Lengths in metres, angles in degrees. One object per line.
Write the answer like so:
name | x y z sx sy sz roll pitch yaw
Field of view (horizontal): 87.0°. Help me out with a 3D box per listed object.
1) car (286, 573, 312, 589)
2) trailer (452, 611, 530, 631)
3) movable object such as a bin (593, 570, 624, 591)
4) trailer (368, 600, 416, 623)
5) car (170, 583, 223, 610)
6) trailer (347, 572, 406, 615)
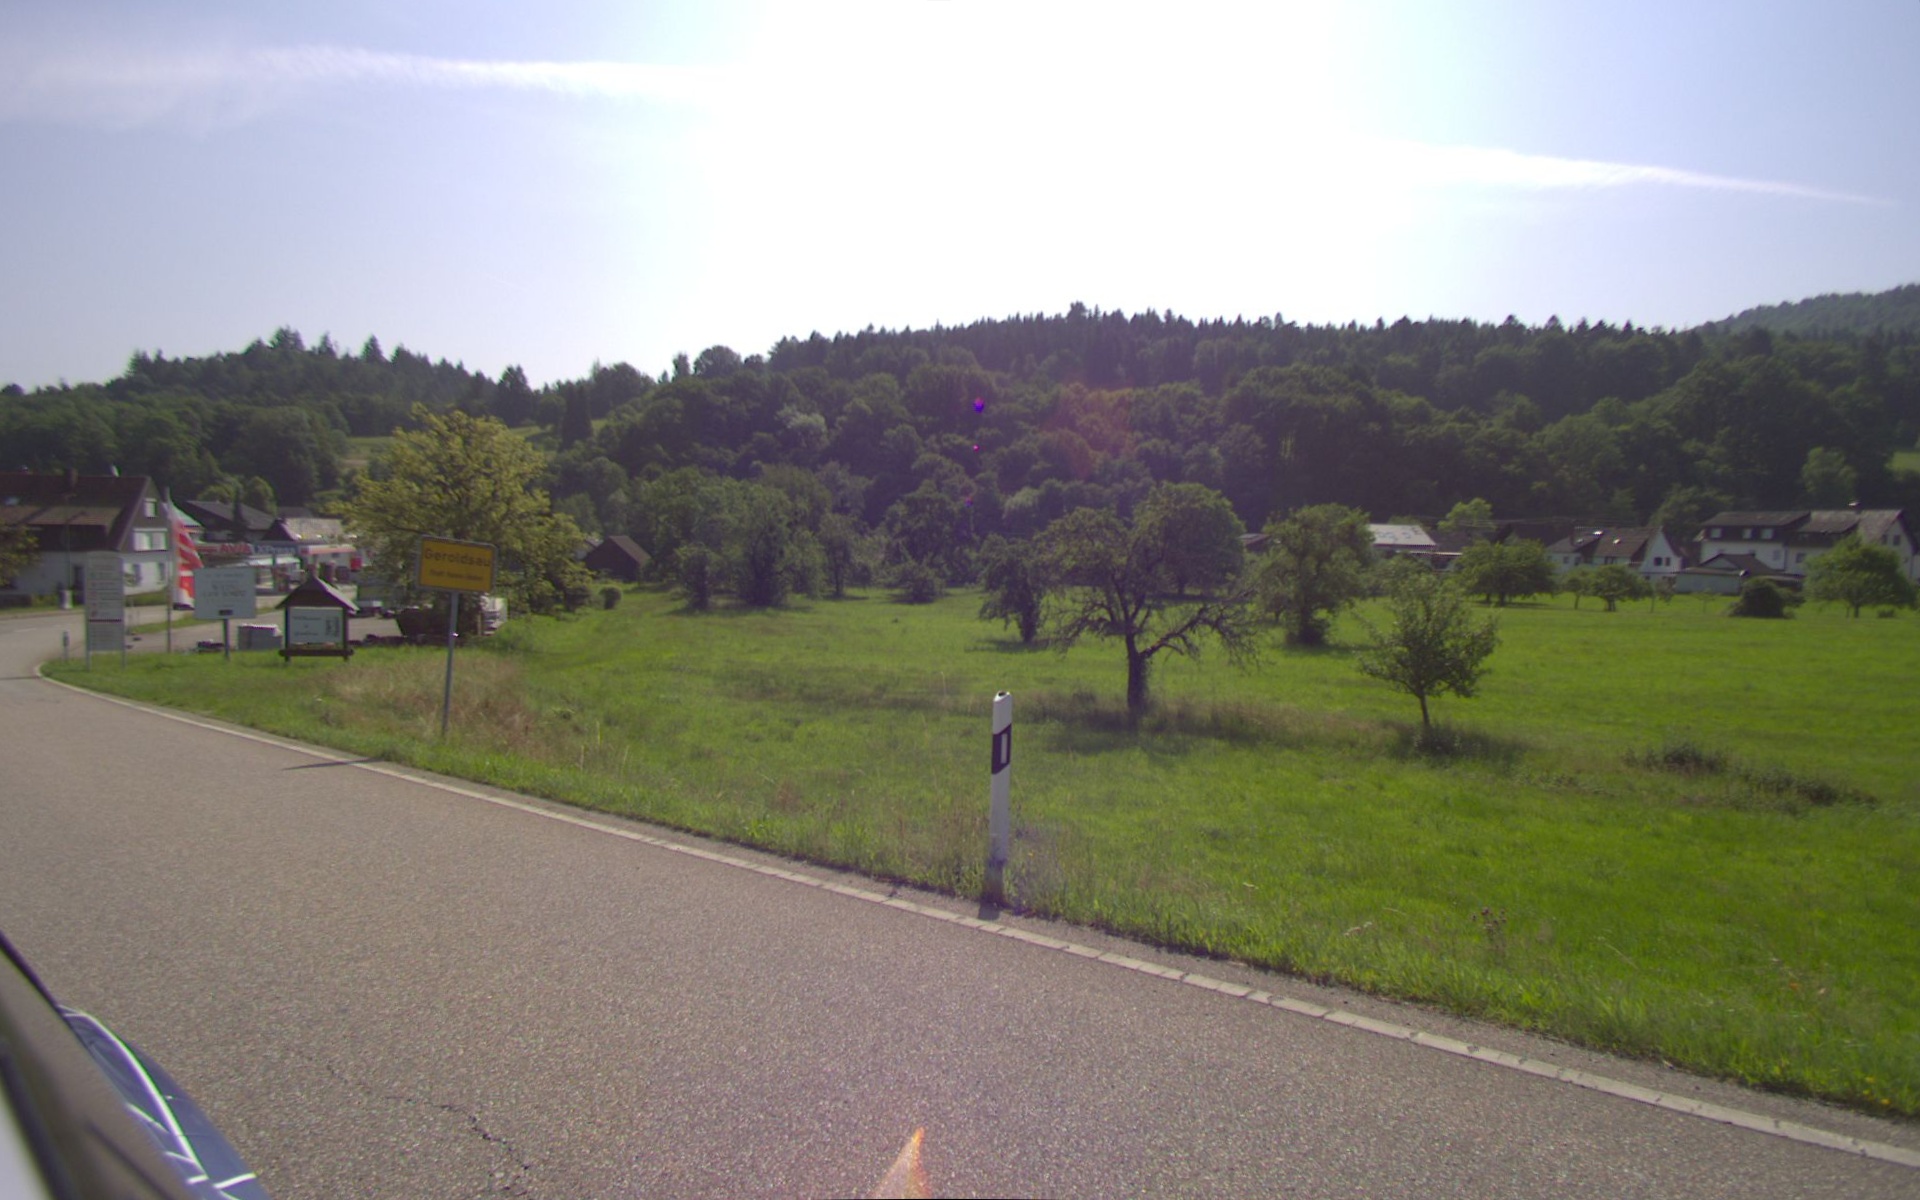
car | -85.556 -2.452 130.999 1.657 1.829 4.013 -1 3 -16
trailer | -27.309 1.218 59.063 3.878 0.946 1.874 -1 3 -18
movable object such as a bin | -54.953 -3.053 158.290 4.133 3.161 2.203 0 2 -1
trailer | -38.126 0.732 68.057 1.965 1.235 5.565 -1 2 -20
car | -57.633 -0.287 76.451 1.739 1.758 3.992 0 4 -14
trailer | -41.683 -0.497 72.372 3.343 2.933 1.890 -1 2 -23
